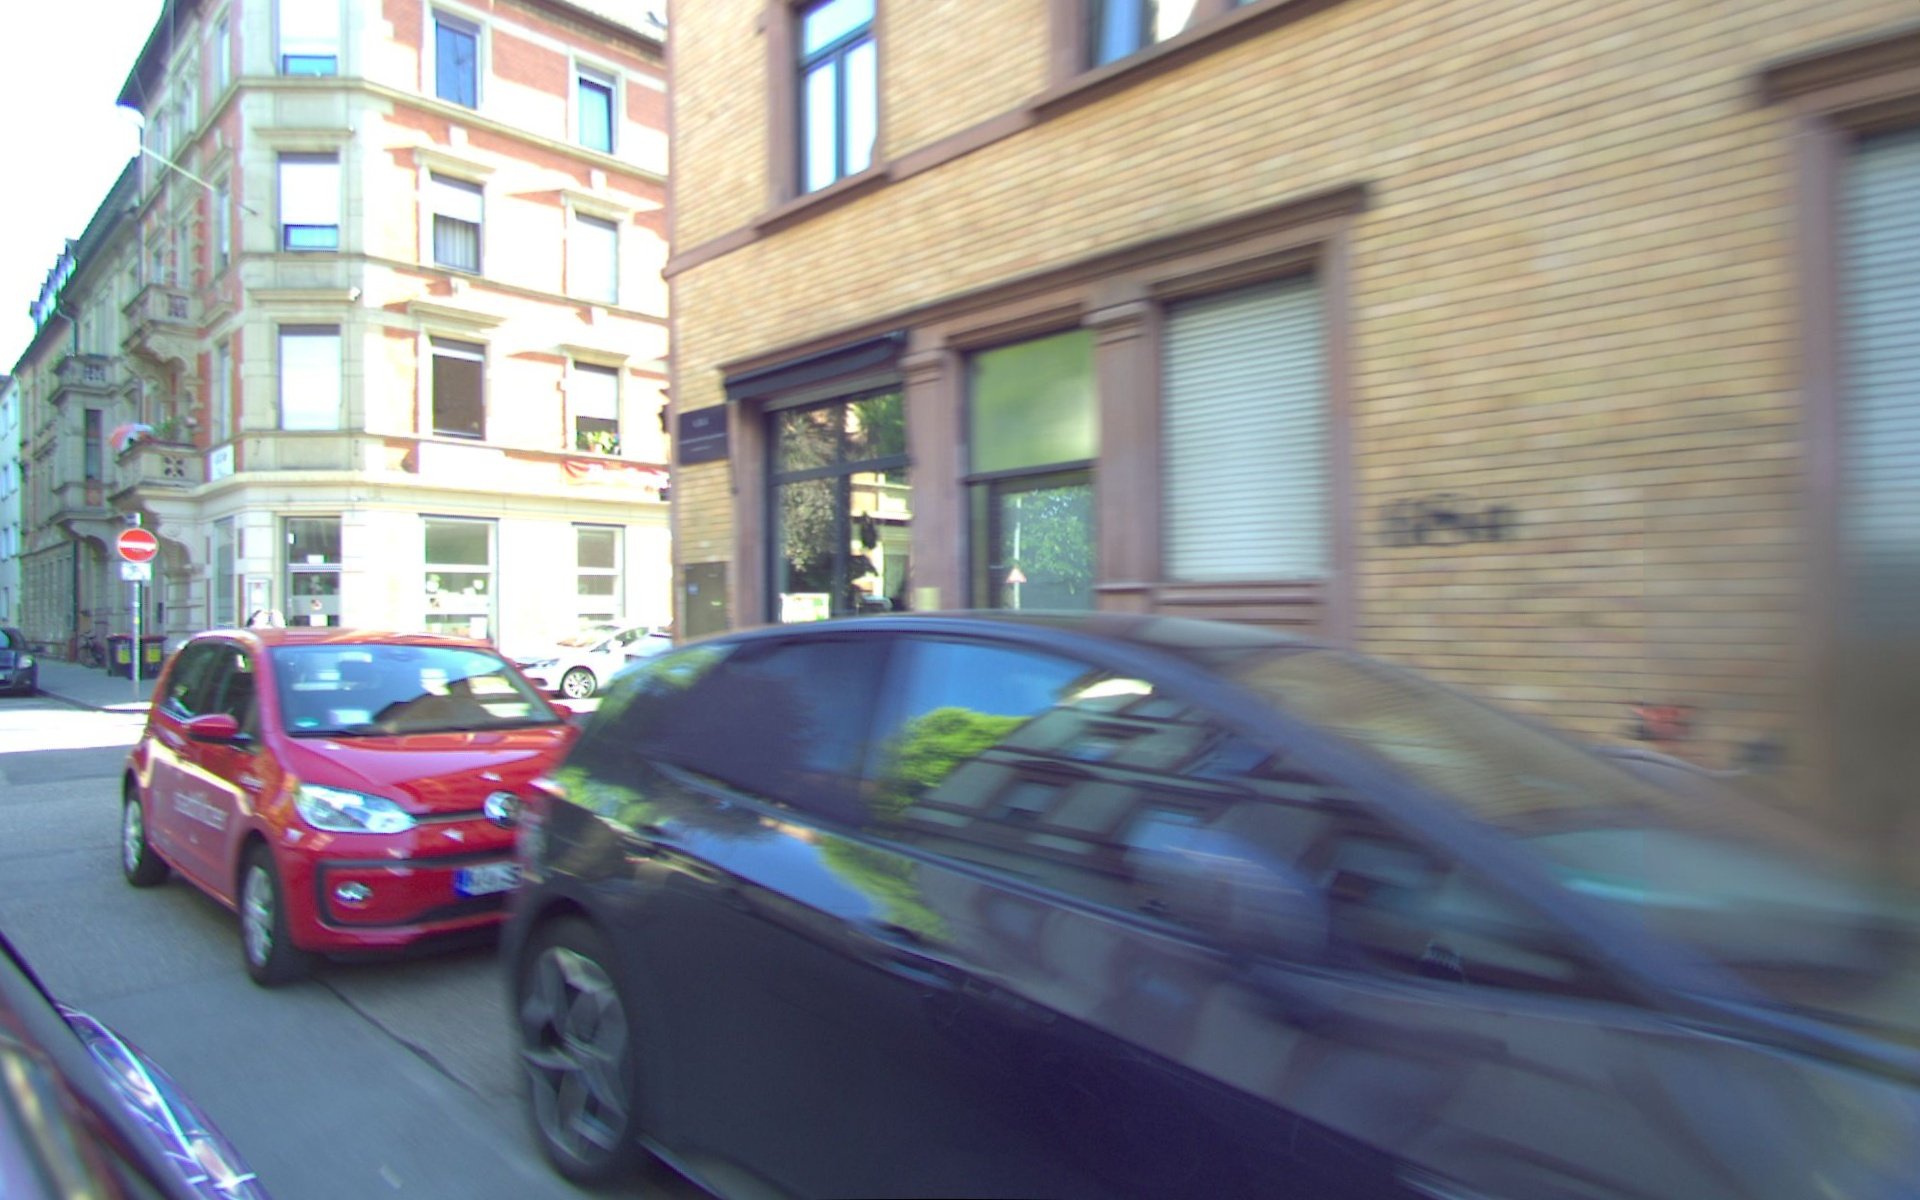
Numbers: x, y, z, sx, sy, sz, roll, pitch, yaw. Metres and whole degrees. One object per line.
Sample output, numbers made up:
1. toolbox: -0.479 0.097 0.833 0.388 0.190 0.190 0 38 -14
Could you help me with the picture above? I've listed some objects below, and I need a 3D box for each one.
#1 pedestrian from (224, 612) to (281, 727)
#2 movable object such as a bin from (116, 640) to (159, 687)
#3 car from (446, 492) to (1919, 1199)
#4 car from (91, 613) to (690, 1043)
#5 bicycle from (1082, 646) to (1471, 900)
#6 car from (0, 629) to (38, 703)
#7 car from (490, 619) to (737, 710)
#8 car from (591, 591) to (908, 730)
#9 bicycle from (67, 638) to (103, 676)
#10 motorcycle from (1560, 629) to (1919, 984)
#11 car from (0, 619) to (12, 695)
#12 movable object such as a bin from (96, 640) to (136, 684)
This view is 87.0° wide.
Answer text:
1. pedestrian: -10.638 1.022 15.219 0.717 1.656 0.542 1 1 41
2. movable object such as a bin: -19.616 1.509 24.138 0.856 1.049 0.631 -2 1 41
3. car: 0.530 0.735 2.251 4.096 1.533 1.676 -2 -4 43
4. car: -3.164 0.865 5.342 3.599 1.492 1.611 -2 -3 41
5. bicycle: 1.607 0.821 5.398 1.890 1.082 0.528 -2 3 42
6. car: -21.014 1.364 21.457 3.971 1.492 1.675 -2 -3 41
7. car: -6.949 1.218 20.591 4.374 1.542 1.869 0 1 -43
8. car: -3.280 0.847 16.380 4.655 1.908 2.029 1 0 -43
9. bicycle: -25.353 1.640 29.326 1.545 1.049 0.565 -2 1 41
10. motorcycle: 3.396 0.721 3.773 1.908 1.215 0.527 -2 -2 42
11. car: -25.000 1.380 24.999 4.570 1.825 1.812 -2 -3 41
12. movable object such as a bin: -21.338 1.550 25.575 0.856 1.049 0.631 -2 1 41
